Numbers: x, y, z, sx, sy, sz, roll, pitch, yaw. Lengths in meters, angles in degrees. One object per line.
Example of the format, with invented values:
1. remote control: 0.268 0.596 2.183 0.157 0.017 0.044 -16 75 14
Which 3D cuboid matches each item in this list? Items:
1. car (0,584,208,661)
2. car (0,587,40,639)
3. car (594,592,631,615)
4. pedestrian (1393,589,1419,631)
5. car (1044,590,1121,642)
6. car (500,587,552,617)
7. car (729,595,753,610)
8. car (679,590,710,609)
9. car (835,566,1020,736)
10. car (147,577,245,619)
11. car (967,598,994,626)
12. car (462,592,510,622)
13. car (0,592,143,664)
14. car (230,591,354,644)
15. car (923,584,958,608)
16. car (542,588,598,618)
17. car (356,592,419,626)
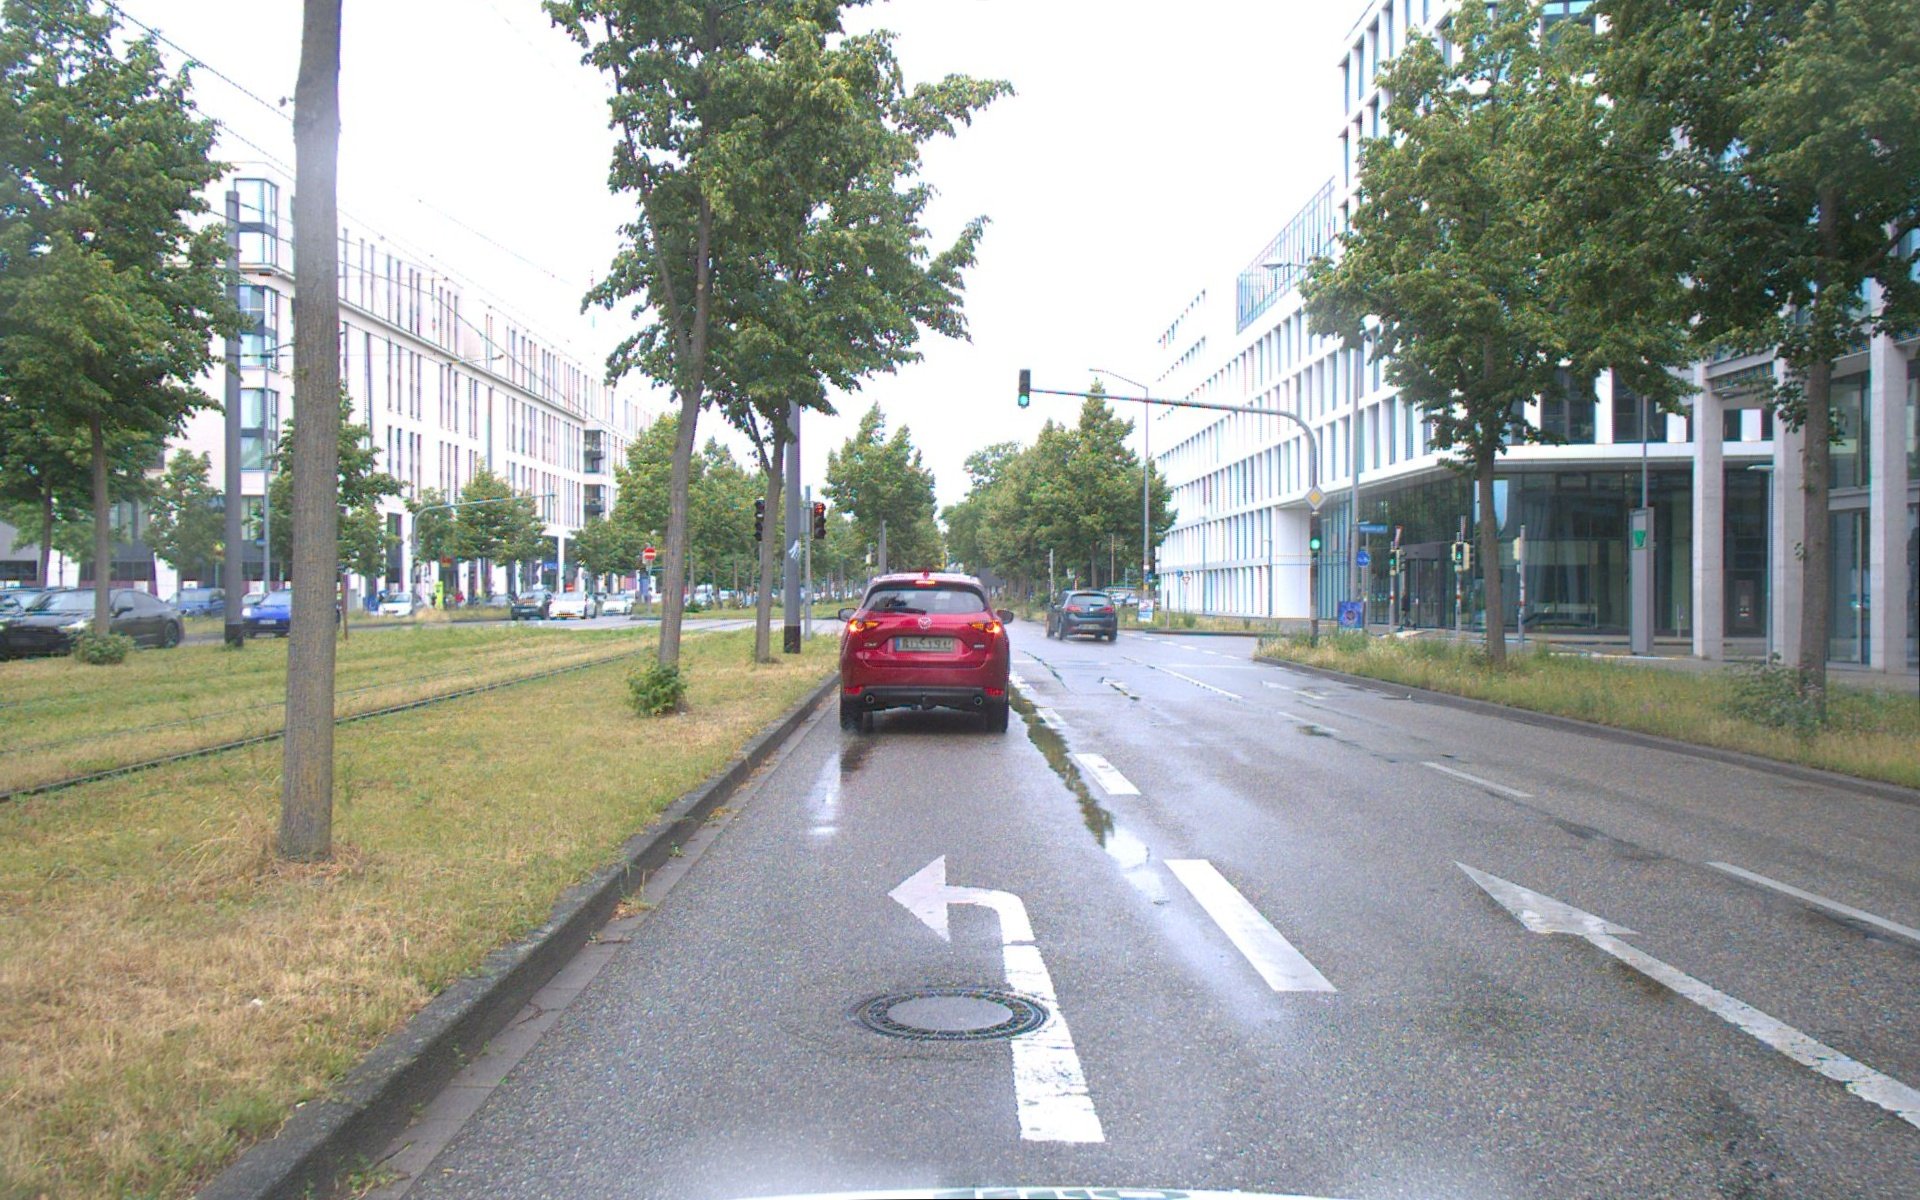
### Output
1. car: -17.075 0.413 33.043 1.953 1.404 4.871 1 0 -1
2. car: -29.061 0.369 48.504 1.955 1.510 4.441 1 0 -5
3. car: -24.157 0.243 115.240 1.954 1.510 4.441 0 0 -5
4. pedestrian: 18.843 0.428 69.884 0.671 1.737 0.775 1 0 -33
5. car: 3.660 0.456 49.894 1.710 1.490 3.777 1 0 -5
6. car: -24.070 0.094 91.836 1.953 1.646 3.998 0 0 -3
7. car: -22.904 0.254 173.079 1.953 1.510 4.444 0 0 -2
8. car: -21.635 -0.071 134.945 1.954 1.510 4.443 0 0 -3
9. car: -0.374 0.502 18.706 1.860 1.706 3.999 1 0 -2
10. car: -28.864 -0.092 62.632 1.954 1.510 4.441 1 0 -5
11. car: 1.514 0.877 124.395 1.953 2.049 3.999 0 0 -1
12. car: -29.928 0.419 104.510 1.953 1.870 3.999 1 0 -2
13. car: -19.618 0.543 35.372 1.953 1.404 4.871 1 0 -1
14. car: -20.655 0.500 51.369 1.953 1.548 5.009 0 0 -2
15. car: -1.282 -0.272 106.943 1.929 1.462 4.548 2 0 -5
16. car: -20.450 0.156 86.816 1.953 1.510 4.445 1 0 -1
17. car: -29.050 0.439 84.041 1.953 1.646 3.998 0 0 -3
